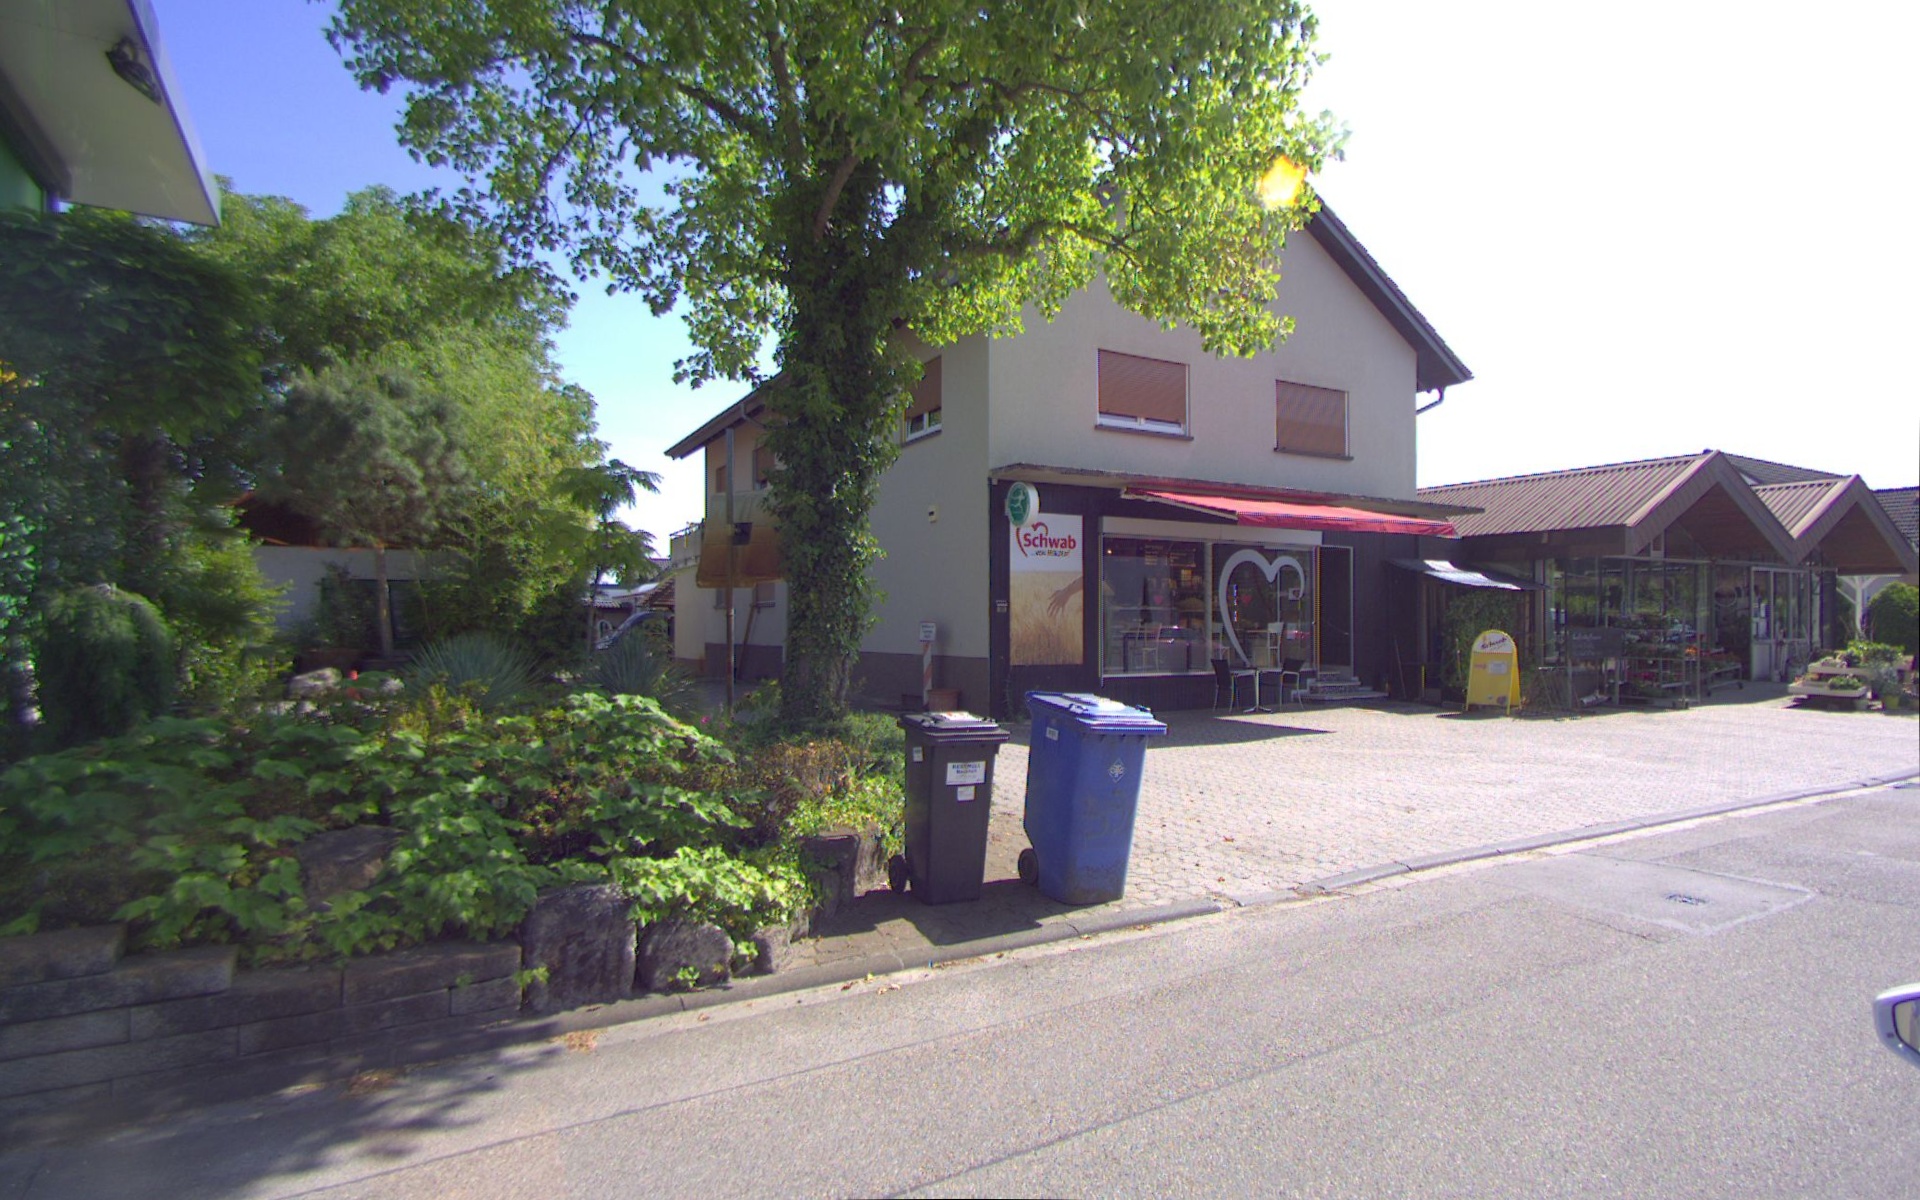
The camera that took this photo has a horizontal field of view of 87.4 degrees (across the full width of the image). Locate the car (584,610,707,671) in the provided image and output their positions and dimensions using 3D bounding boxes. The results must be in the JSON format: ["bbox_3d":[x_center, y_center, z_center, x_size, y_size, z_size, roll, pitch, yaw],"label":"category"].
[{"bbox_3d":[-13.260,1.688,42.407,4.598,2.441,2.177,1,-2,-32],"label":"car"}]

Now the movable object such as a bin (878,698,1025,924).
[{"bbox_3d":[-0.053,1.071,5.314,0.561,1.038,0.580,1,0,-30],"label":"movable object such as a bin"}]

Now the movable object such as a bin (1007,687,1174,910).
[{"bbox_3d":[0.716,1.059,5.628,0.605,1.068,0.727,1,0,-30],"label":"movable object such as a bin"}]
